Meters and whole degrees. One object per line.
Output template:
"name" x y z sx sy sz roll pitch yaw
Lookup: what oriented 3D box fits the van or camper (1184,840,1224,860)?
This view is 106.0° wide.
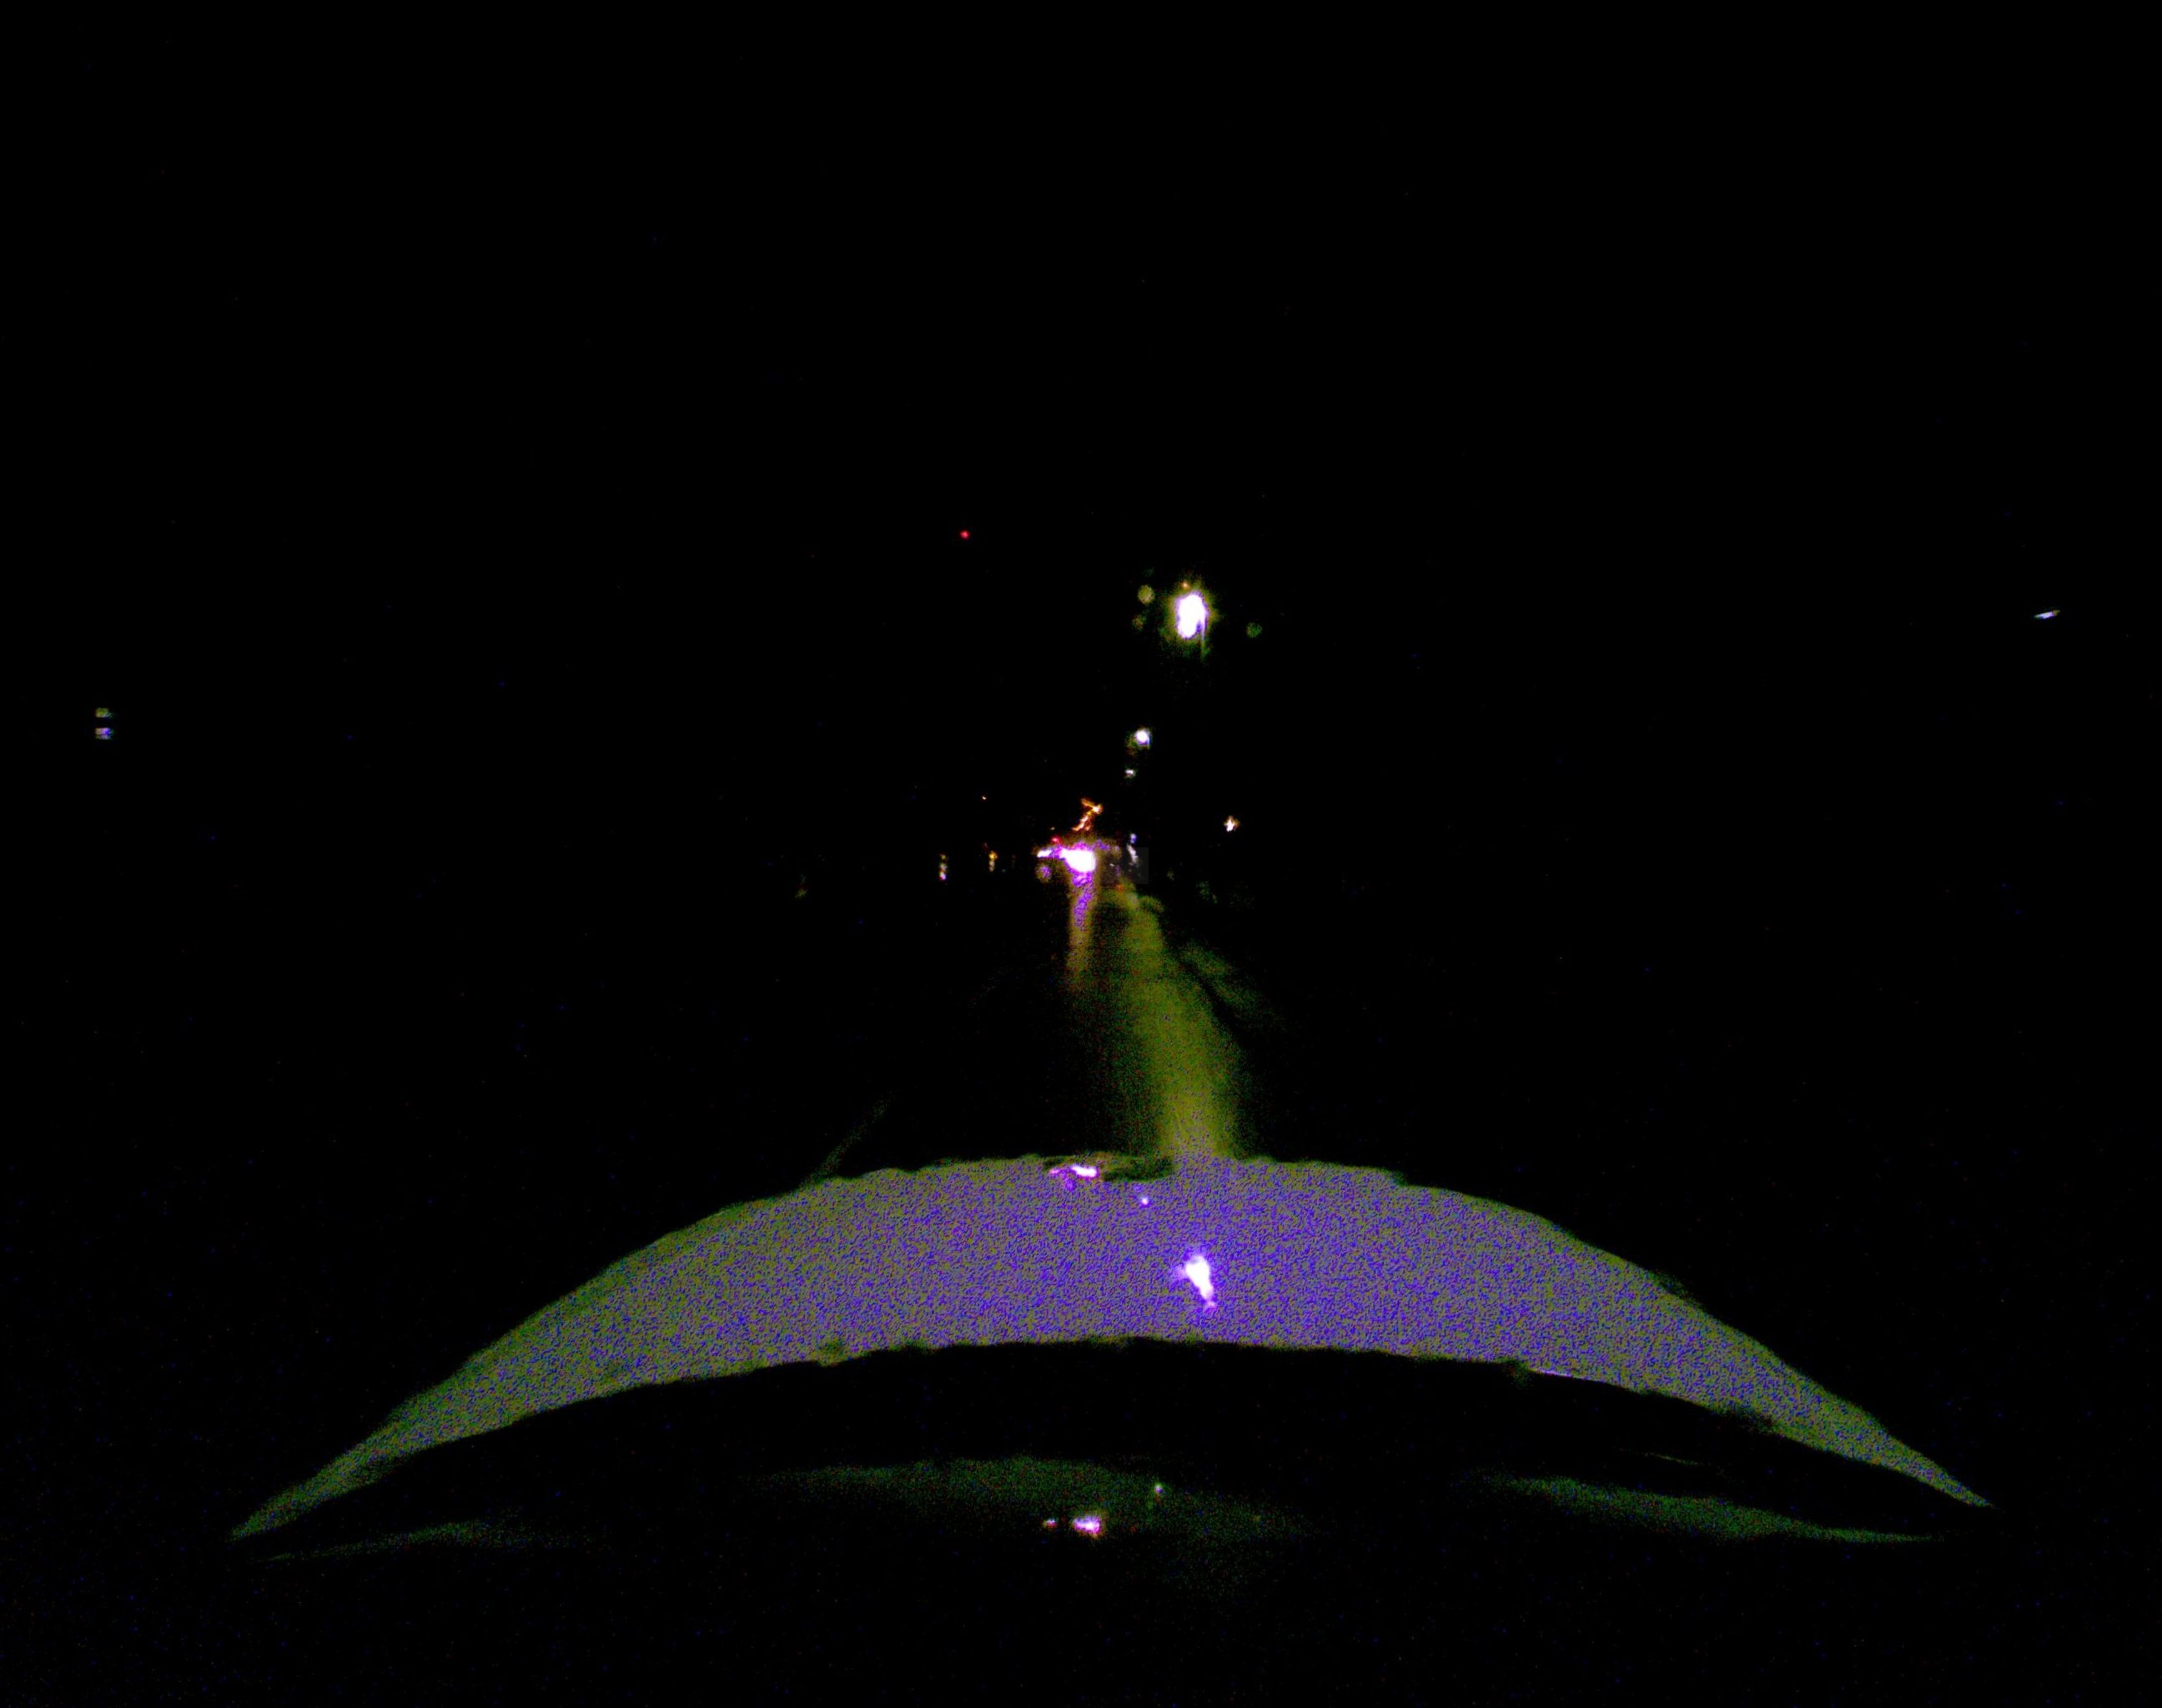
"van or camper" 16.547 -0.576 109.664 5.042 2.527 2.173 -2 1 2

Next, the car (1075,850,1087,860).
"car" -0.043 0.179 134.209 1.738 1.433 4.003 -3 0 3

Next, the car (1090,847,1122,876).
"car" 1.590 0.440 52.838 1.987 1.683 4.001 -1 1 0

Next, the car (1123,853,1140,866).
"car" 6.541 0.719 105.837 1.708 1.488 4.434 -2 0 -1

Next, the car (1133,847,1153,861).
"car" 7.136 0.003 94.724 1.785 1.449 4.788 -3 1 -2
